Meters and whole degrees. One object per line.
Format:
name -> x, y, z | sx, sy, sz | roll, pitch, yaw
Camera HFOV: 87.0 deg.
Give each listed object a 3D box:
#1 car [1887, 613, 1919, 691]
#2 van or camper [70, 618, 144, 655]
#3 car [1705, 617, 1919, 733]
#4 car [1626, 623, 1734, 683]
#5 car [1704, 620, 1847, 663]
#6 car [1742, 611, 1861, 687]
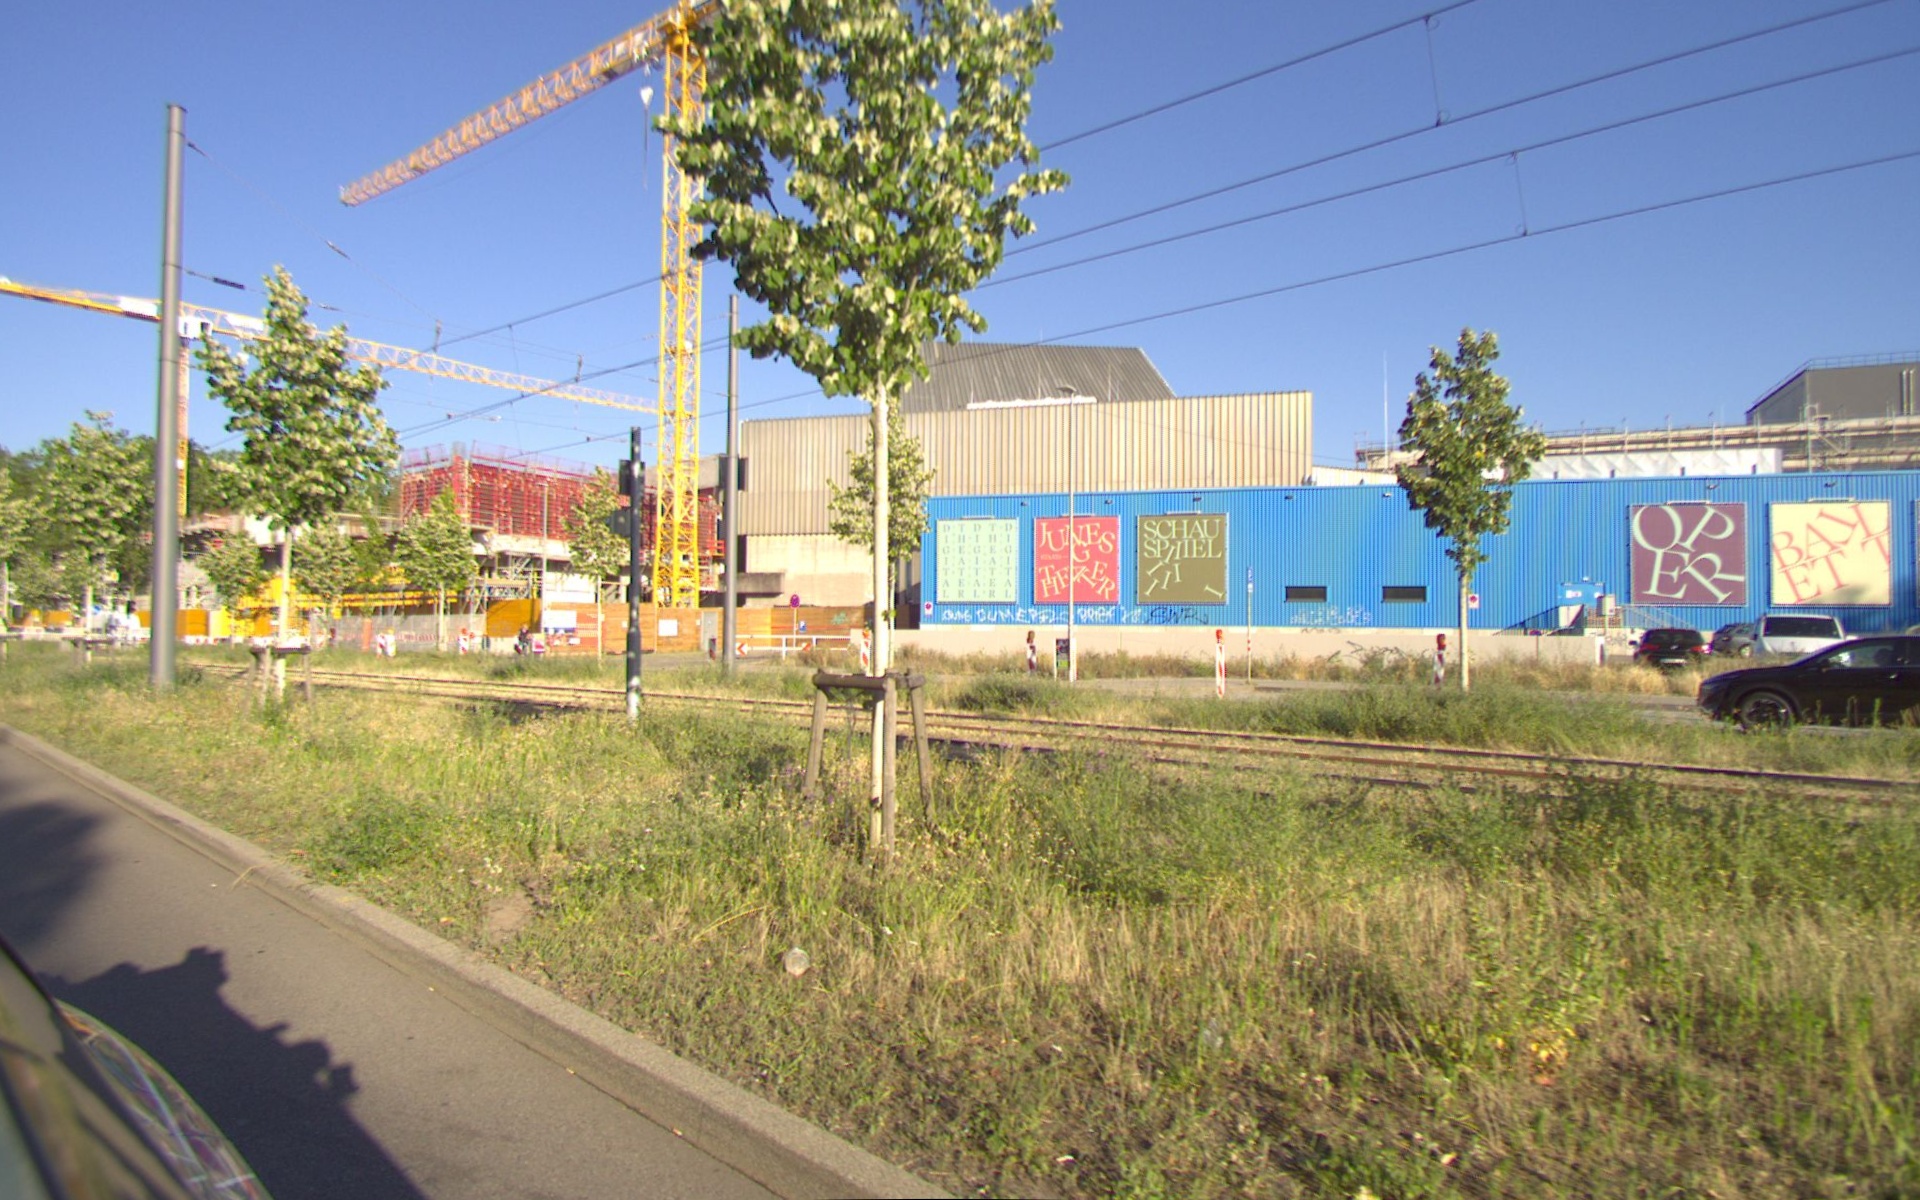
car -> 23.548, 1.210, 23.979 | 2.124, 1.730, 5.172 | -2, -3, 41
van or camper -> -61.352, 2.661, 72.736 | 7.184, 2.529, 2.202 | -2, -5, 35
car -> 14.122, 1.102, 15.440 | 4.269, 1.663, 1.973 | -2, -3, 41
car -> 19.464, 1.384, 27.286 | 1.999, 1.496, 3.945 | -2, -3, 41
car -> 32.625, 1.652, 40.603 | 4.189, 1.648, 1.404 | -1, -2, 18
car -> 21.552, 1.213, 25.916 | 2.124, 1.730, 5.172 | -2, -3, 41
